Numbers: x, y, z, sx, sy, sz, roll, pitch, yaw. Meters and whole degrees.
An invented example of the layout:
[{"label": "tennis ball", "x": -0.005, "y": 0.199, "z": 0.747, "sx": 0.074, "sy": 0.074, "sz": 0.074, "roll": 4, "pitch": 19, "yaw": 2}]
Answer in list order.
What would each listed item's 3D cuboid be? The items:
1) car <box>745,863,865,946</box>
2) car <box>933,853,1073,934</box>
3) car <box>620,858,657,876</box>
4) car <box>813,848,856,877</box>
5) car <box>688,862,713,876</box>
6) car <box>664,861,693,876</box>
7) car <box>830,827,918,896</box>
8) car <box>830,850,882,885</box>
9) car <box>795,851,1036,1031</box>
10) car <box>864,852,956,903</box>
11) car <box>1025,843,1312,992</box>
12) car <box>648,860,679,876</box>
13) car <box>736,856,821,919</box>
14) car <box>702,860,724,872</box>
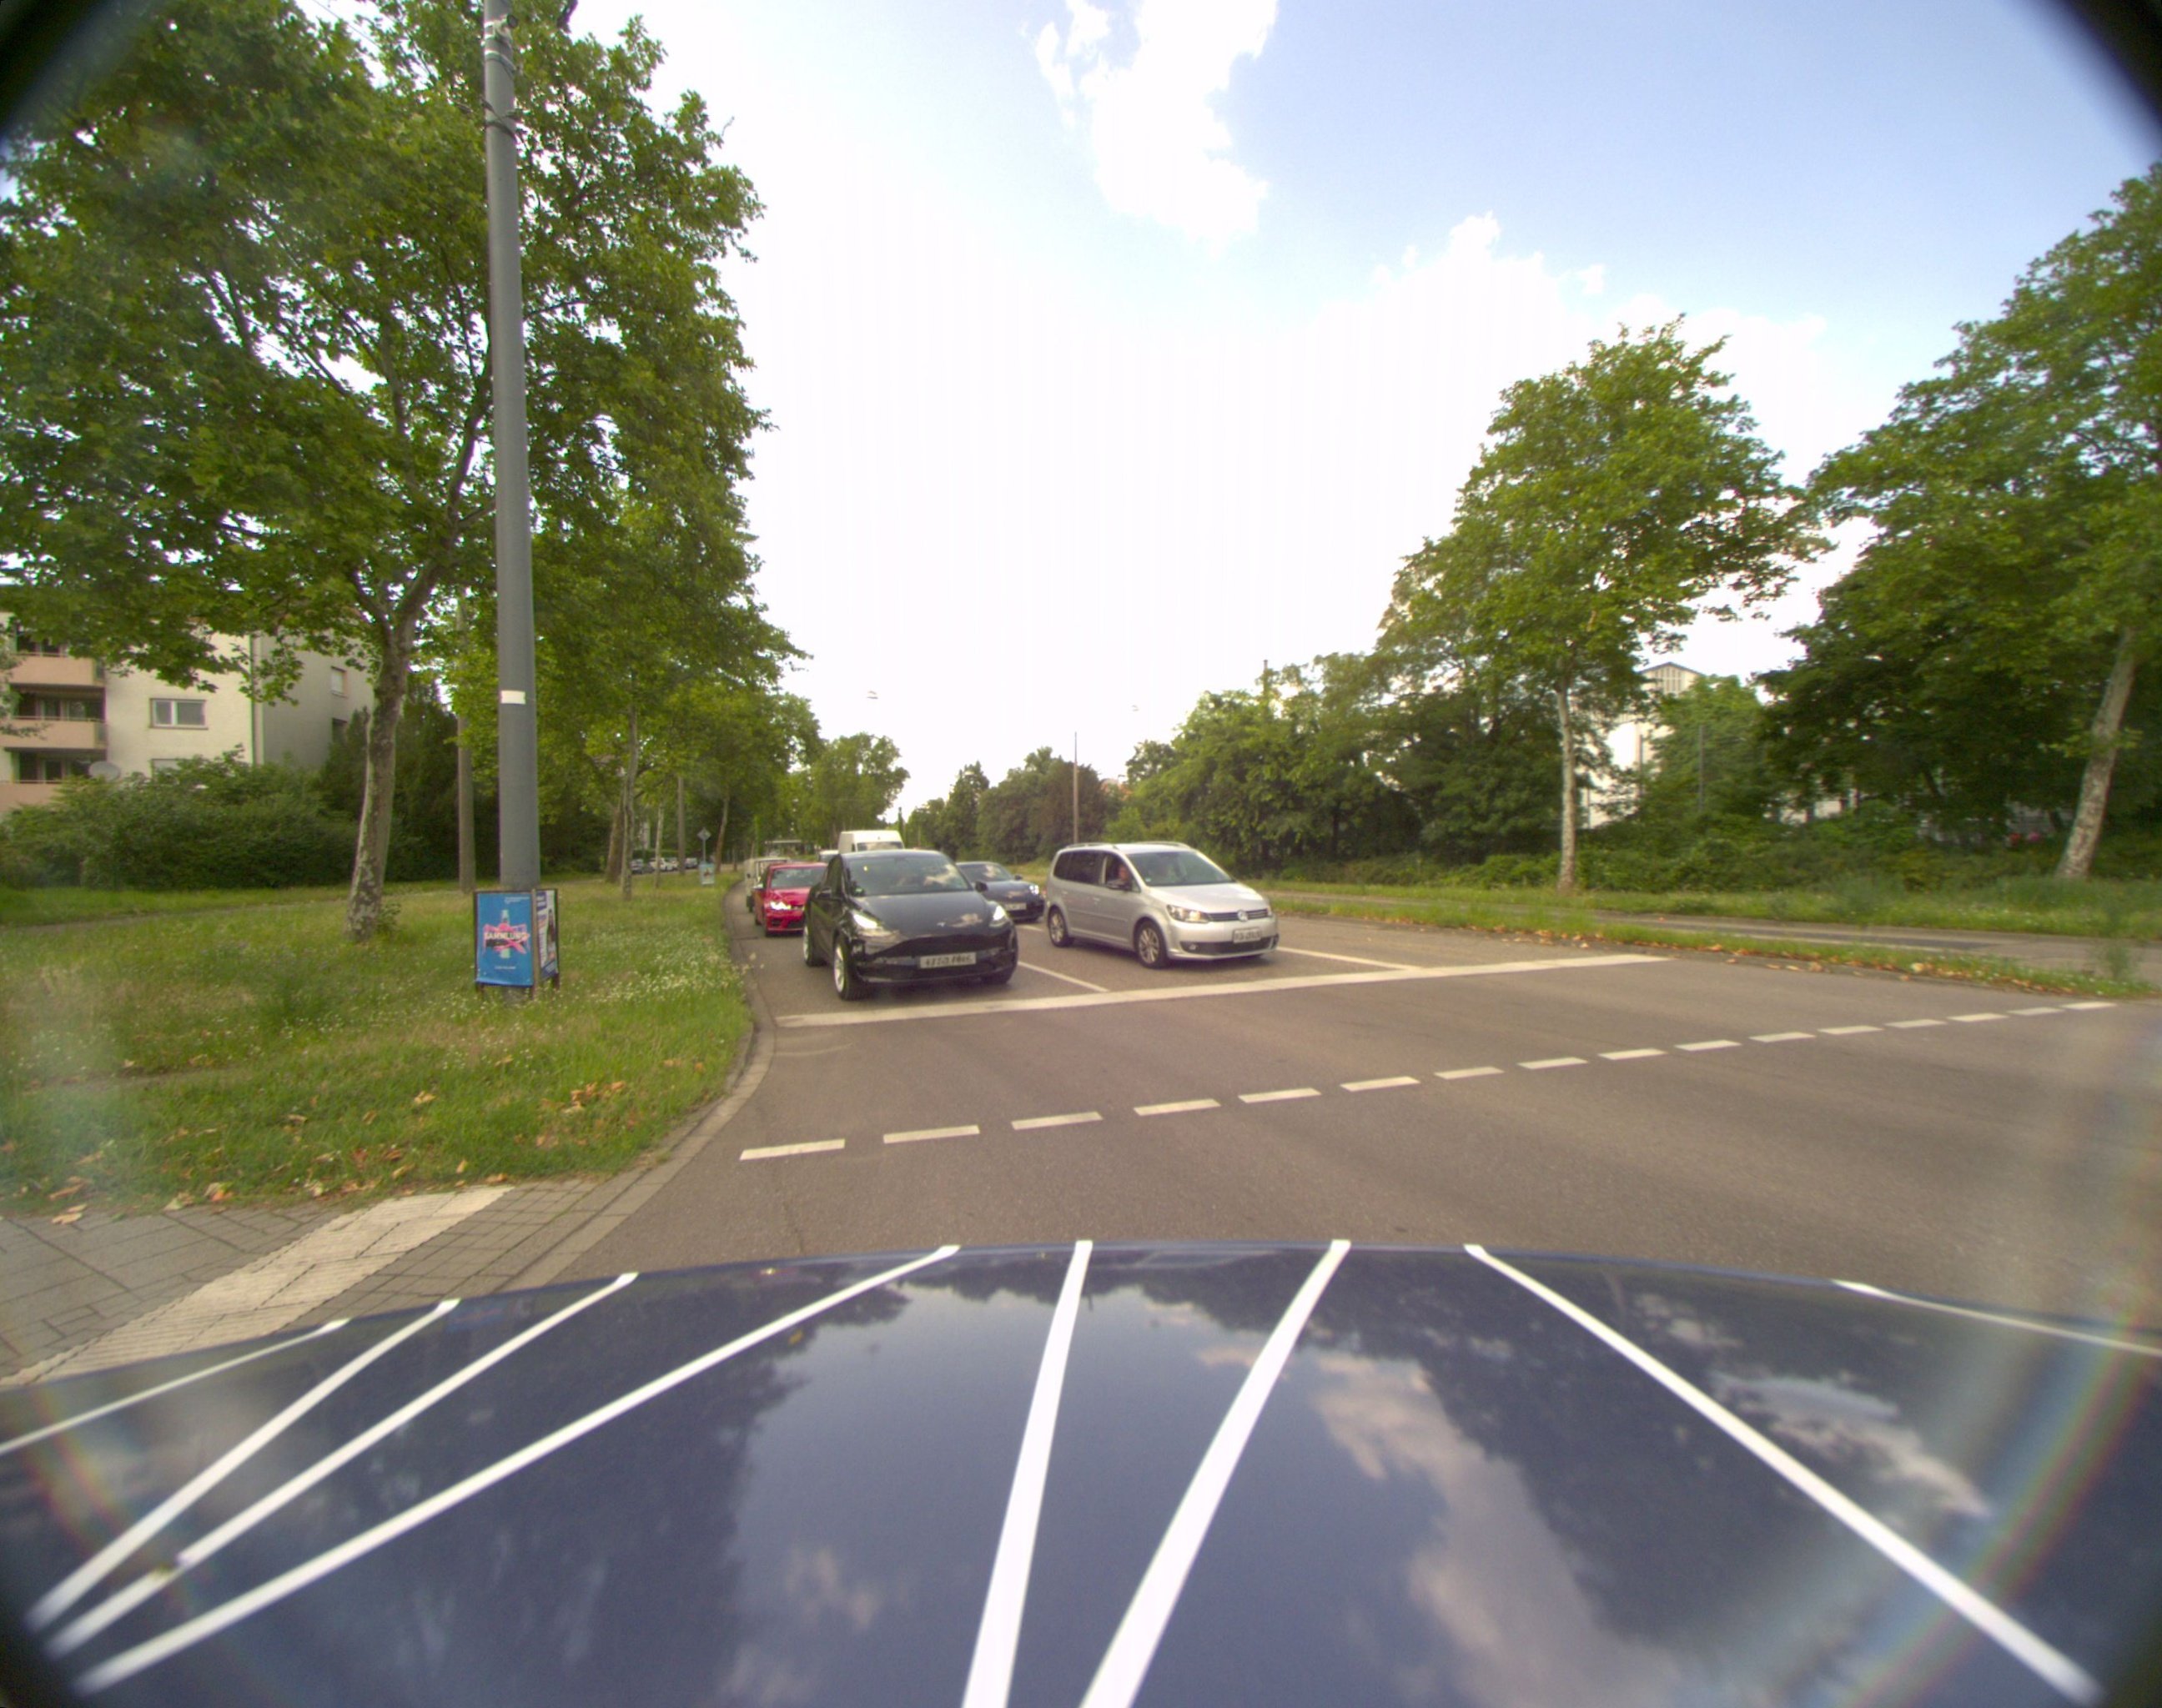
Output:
[{"label": "car", "x": -6.107, "y": 0.964, "z": 16.461, "sx": 1.804, "sy": 1.383, "sz": 4.491, "roll": -3, "pitch": 2, "yaw": -28}, {"label": "car", "x": -1.888, "y": 0.774, "z": 17.104, "sx": 1.806, "sy": 1.499, "sz": 3.991, "roll": -3, "pitch": 2, "yaw": -26}, {"label": "car", "x": -40.810, "y": 1.200, "z": 70.138, "sx": 1.777, "sy": 1.586, "sz": 3.653, "roll": -1, "pitch": -1, "yaw": -11}, {"label": "car", "x": -14.923, "y": 0.482, "z": 45.861, "sx": 1.767, "sy": 1.637, "sz": 4.333, "roll": -1, "pitch": 1, "yaw": -28}, {"label": "car", "x": -46.936, "y": 1.883, "z": 93.795, "sx": 1.777, "sy": 1.586, "sz": 3.653, "roll": -1, "pitch": -1, "yaw": -11}, {"label": "car", "x": -44.061, "y": 1.573, "z": 83.165, "sx": 1.777, "sy": 1.586, "sz": 3.653, "roll": -1, "pitch": -1, "yaw": -11}, {"label": "car", "x": -8.688, "y": 0.234, "z": 31.435, "sx": 2.230, "sy": 2.516, "sz": 5.919, "roll": -3, "pitch": 2, "yaw": -28}, {"label": "car", "x": -11.484, "y": 0.640, "z": 38.620, "sx": 1.846, "sy": 1.609, "sz": 4.147, "roll": -2, "pitch": 1, "yaw": -26}, {"label": "car", "x": -2.374, "y": 0.818, "z": 9.713, "sx": 1.934, "sy": 1.643, "sz": 4.569, "roll": -3, "pitch": 2, "yaw": -26}, {"label": "car", "x": -5.522, "y": 0.668, "z": 24.120, "sx": 1.767, "sy": 1.367, "sz": 4.333, "roll": -3, "pitch": 2, "yaw": -28}, {"label": "car", "x": 0.997, "y": 0.709, "z": 11.104, "sx": 1.933, "sy": 1.643, "sz": 4.491, "roll": -3, "pitch": 2, "yaw": -28}, {"label": "car", "x": -43.397, "y": 1.465, "z": 79.076, "sx": 1.777, "sy": 1.586, "sz": 3.653, "roll": -1, "pitch": -1, "yaw": -11}, {"label": "car", "x": -8.958, "y": 0.889, "z": 22.314, "sx": 1.804, "sy": 1.561, "sz": 4.491, "roll": -3, "pitch": 2, "yaw": -28}, {"label": "car", "x": -49.037, "y": 1.632, "z": 101.401, "sx": 1.777, "sy": 1.586, "sz": 3.653, "roll": -1, "pitch": -1, "yaw": -11}]
